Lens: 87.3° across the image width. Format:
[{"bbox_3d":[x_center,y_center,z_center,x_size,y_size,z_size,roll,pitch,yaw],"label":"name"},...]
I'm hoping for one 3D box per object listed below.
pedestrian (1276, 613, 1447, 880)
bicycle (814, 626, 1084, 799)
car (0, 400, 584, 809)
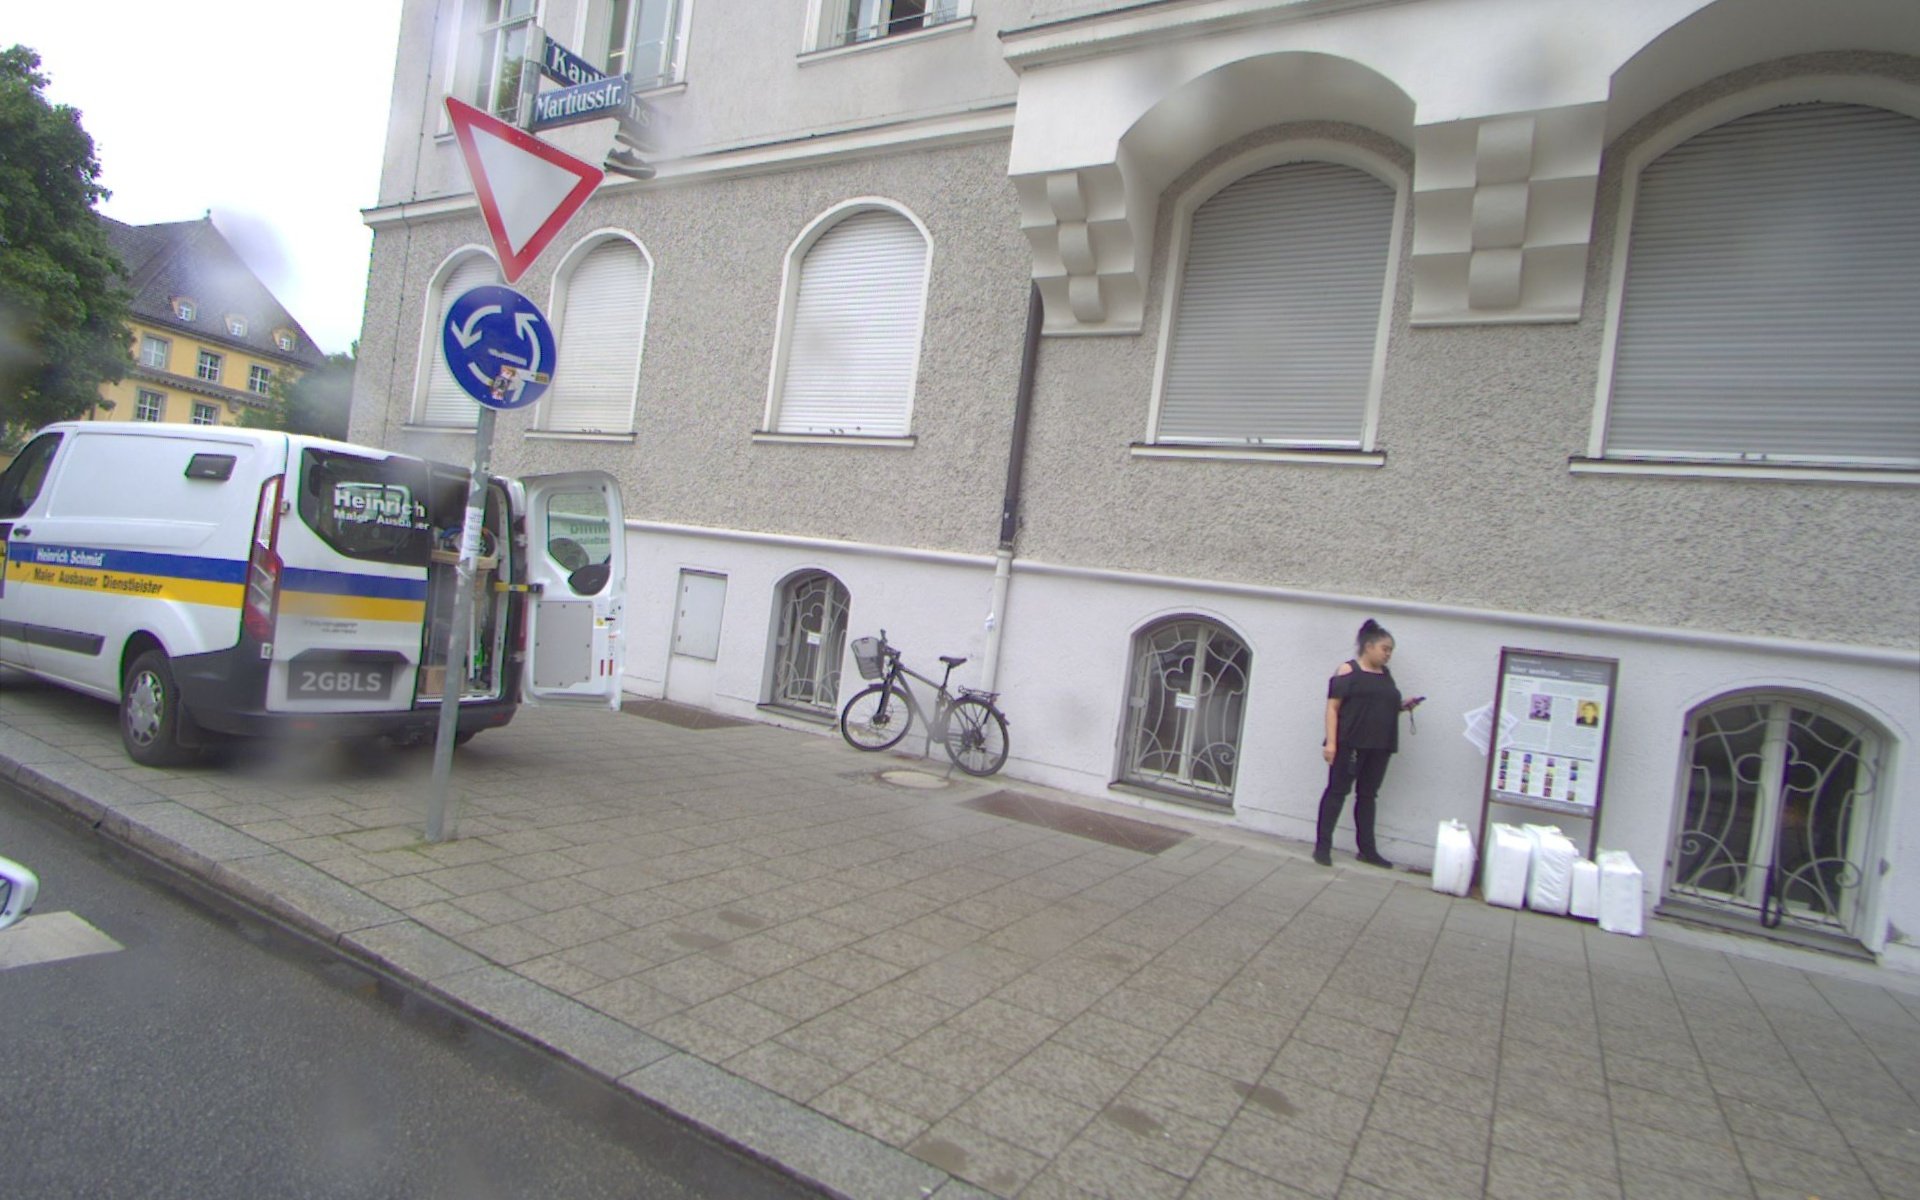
[{"bbox_3d":[2.809,1.005,7.095,0.724,1.760,0.691,4,2,-15],"label":"pedestrian"},{"bbox_3d":[-0.137,0.926,8.856,2.244,1.108,0.695,7,2,30],"label":"bicycle"},{"bbox_3d":[-5.176,-0.156,7.017,4.842,1.986,1.919,7,1,28],"label":"car"}]
